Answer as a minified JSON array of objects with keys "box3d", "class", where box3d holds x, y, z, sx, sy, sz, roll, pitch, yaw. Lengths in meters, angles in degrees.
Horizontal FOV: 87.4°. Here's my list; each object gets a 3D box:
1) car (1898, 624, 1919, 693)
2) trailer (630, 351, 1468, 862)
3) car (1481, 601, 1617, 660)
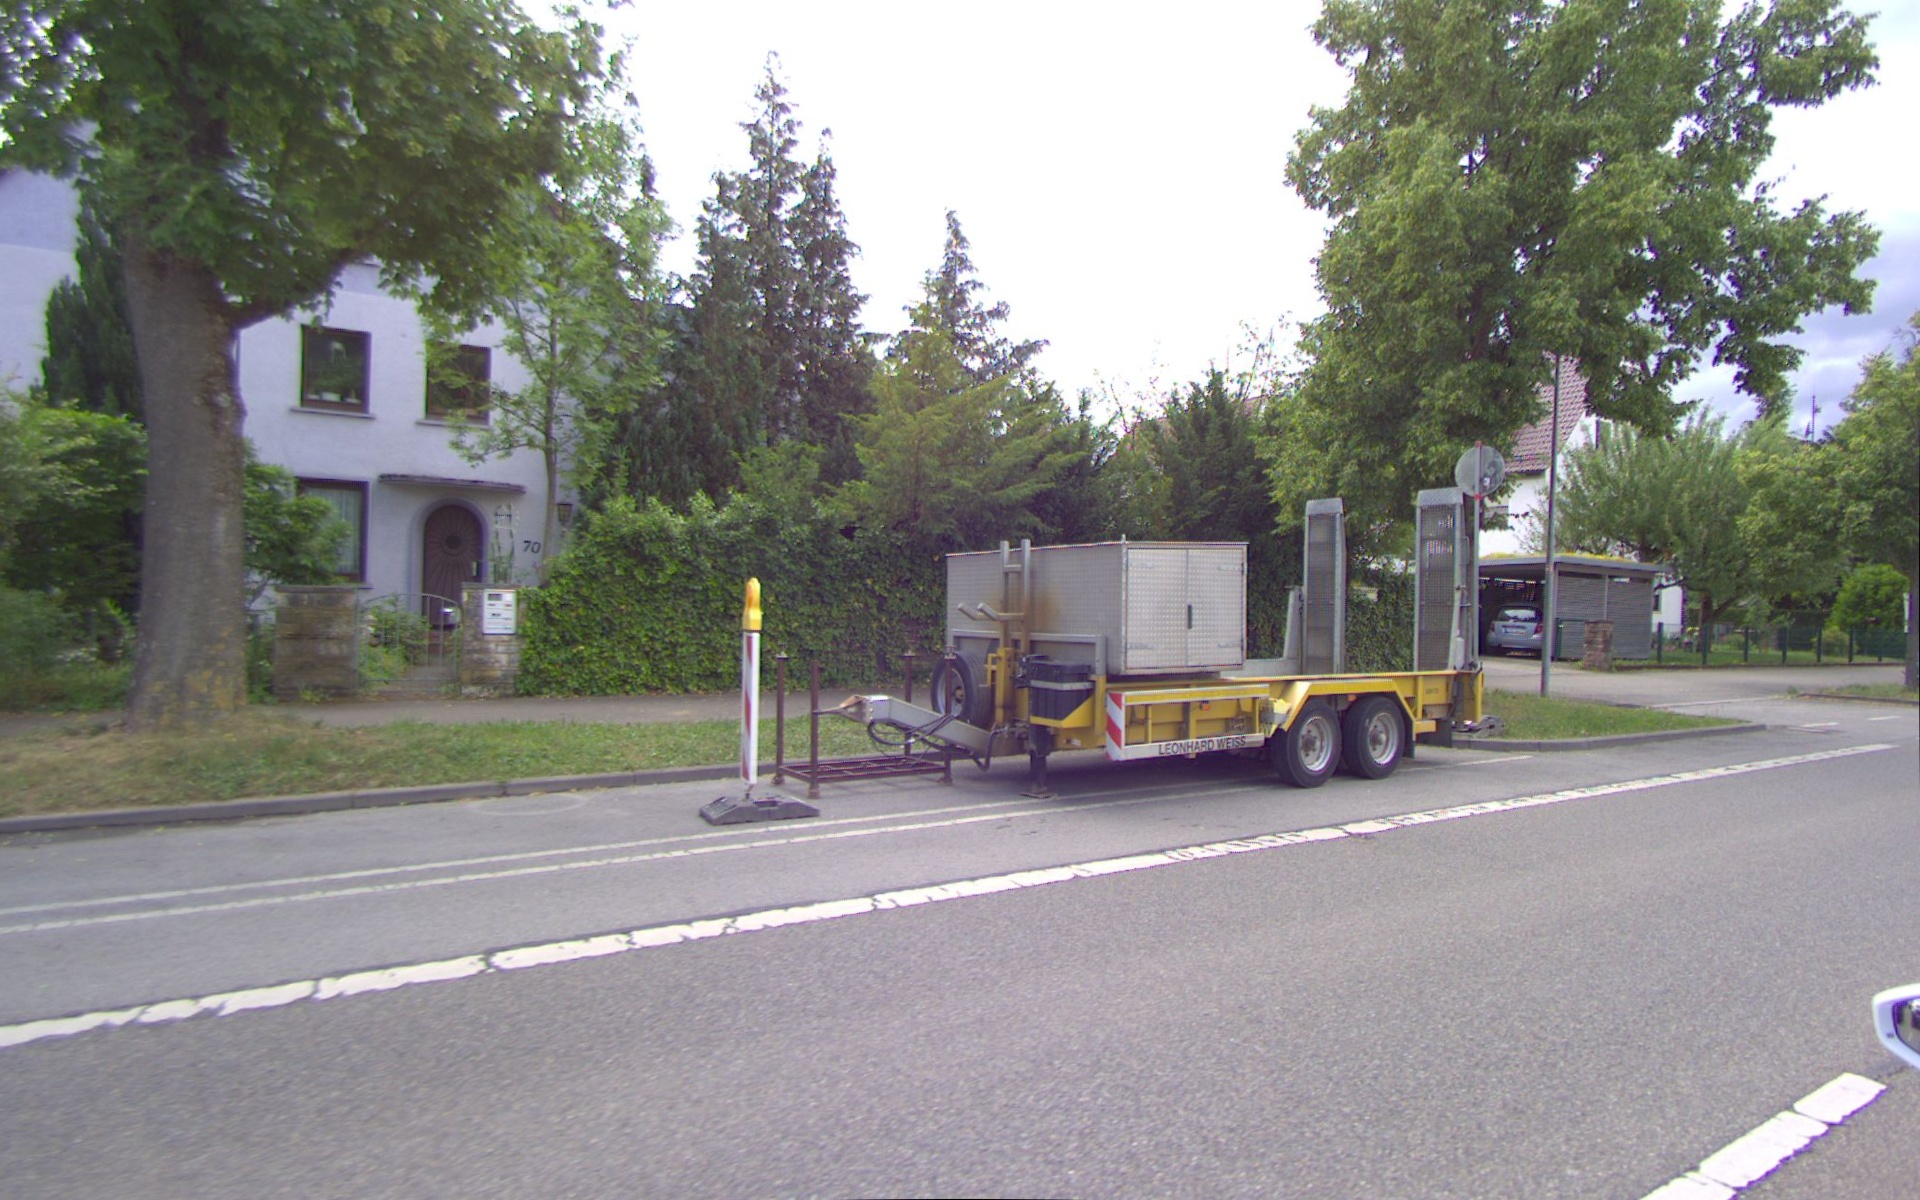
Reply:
[{"box3d":[24.813,1.445,24.550,4.225,1.622,1.713,2,0,-32],"class":"car"},{"box3d":[1.183,0.143,9.022,7.397,2.980,2.658,2,0,-33],"class":"trailer"},{"box3d":[16.856,0.866,28.699,3.955,1.550,1.697,2,0,-32],"class":"car"}]
